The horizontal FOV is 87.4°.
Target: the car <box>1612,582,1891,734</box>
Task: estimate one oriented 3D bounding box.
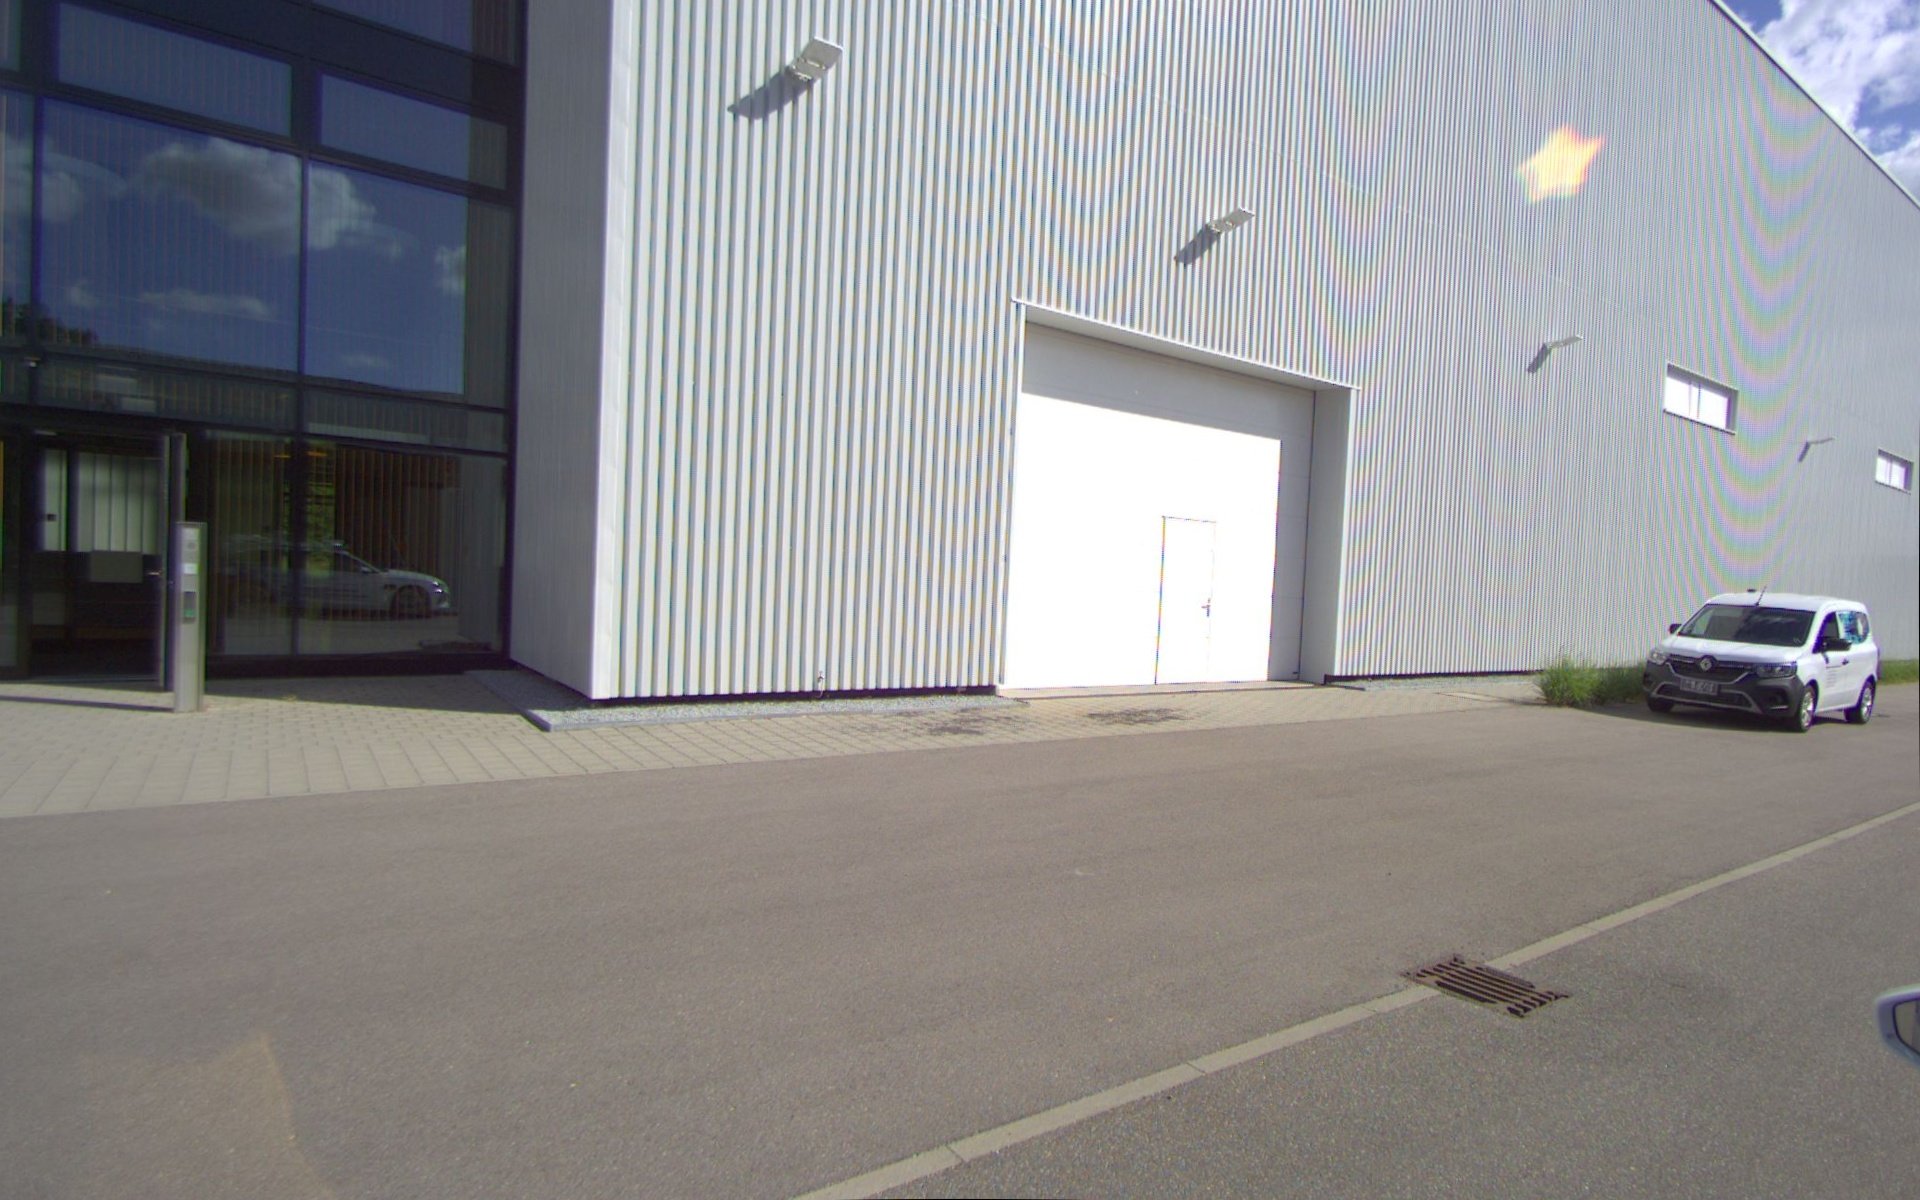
[{"bbox_3d":[11.615,0.763,14.649,4.553,1.814,1.915,2,3,-36],"label":"car"}]
